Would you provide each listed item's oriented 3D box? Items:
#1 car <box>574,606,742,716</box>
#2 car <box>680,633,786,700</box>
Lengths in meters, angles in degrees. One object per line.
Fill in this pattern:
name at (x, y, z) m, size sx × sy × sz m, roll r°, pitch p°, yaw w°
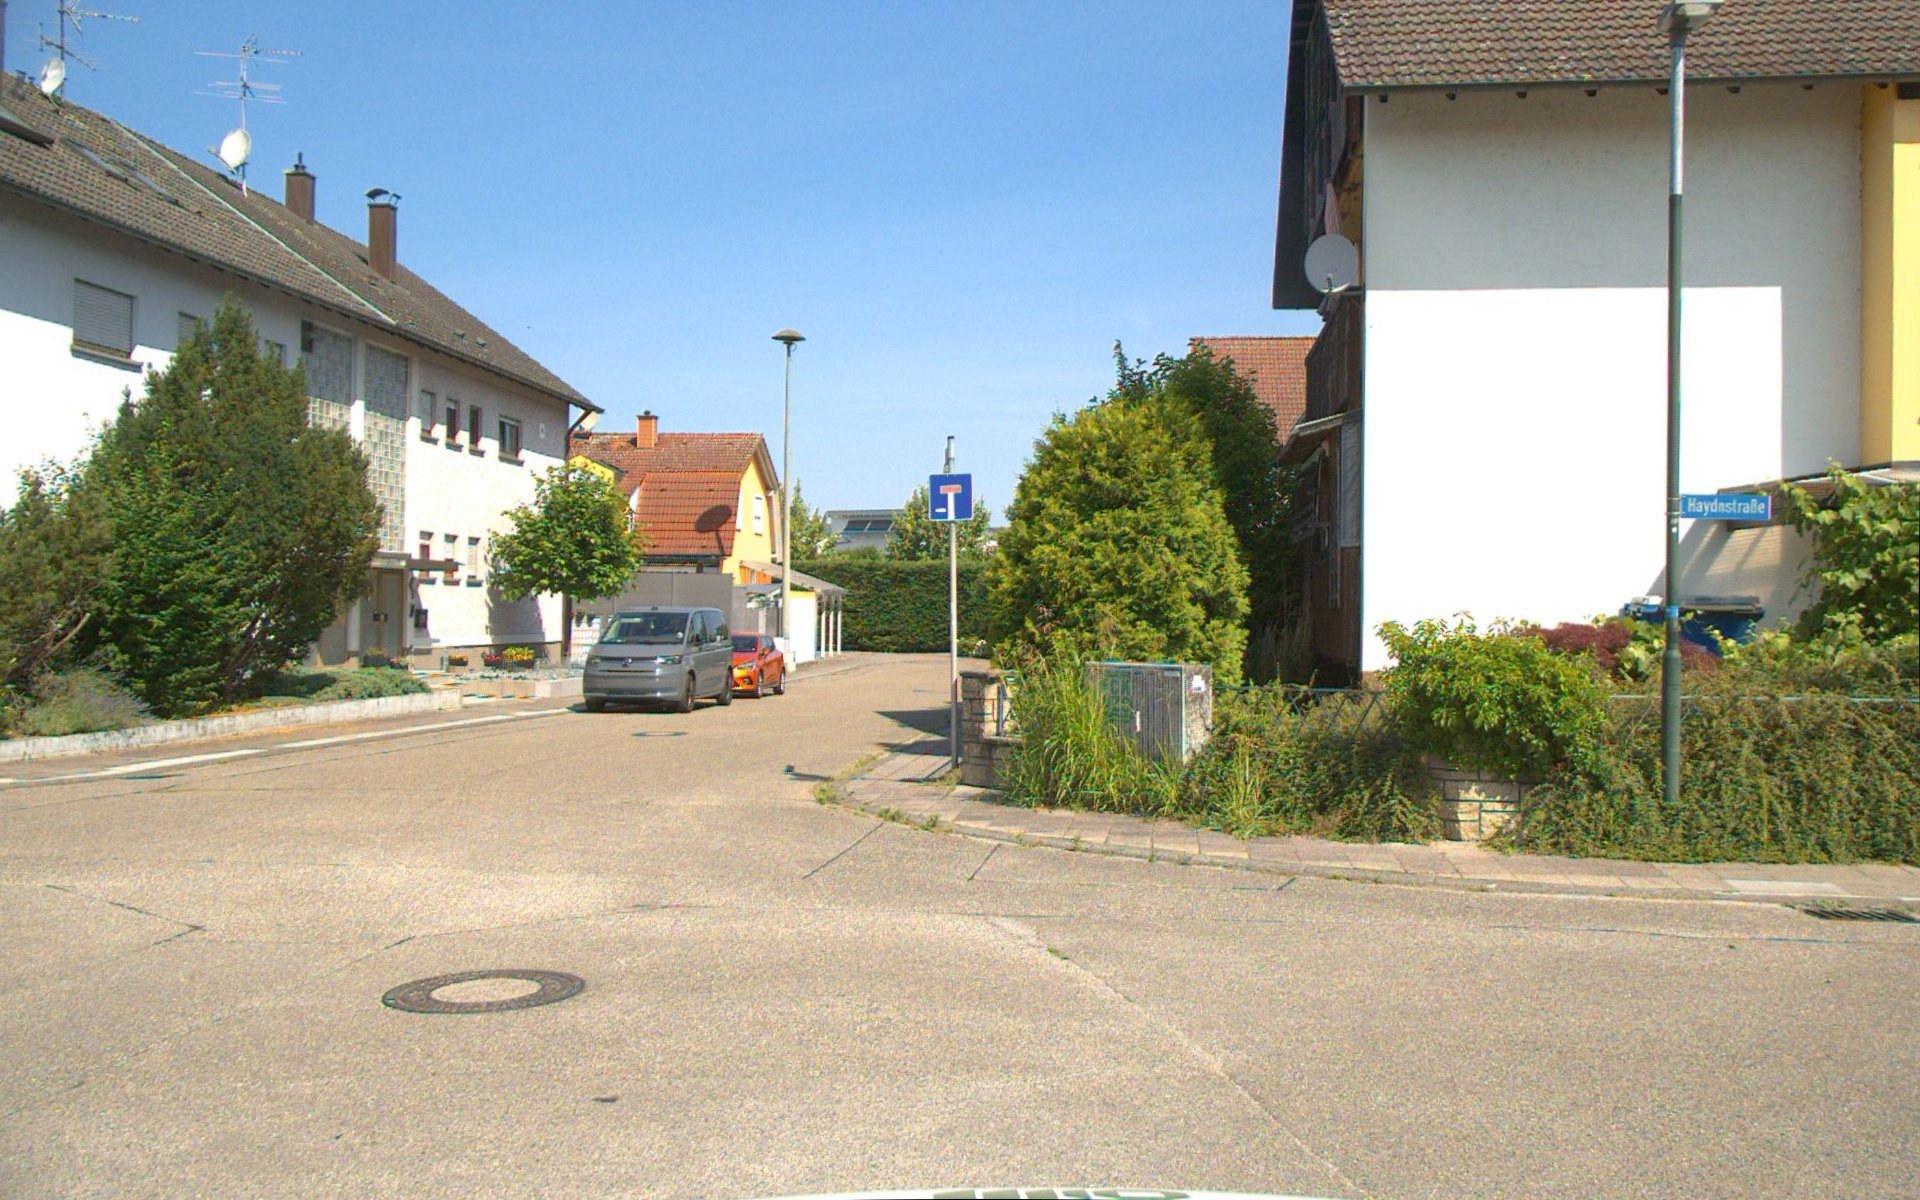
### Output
car at (-5.575, 1.081, 31.106) m, size 1.860 × 1.902 × 4.374 m, roll 0°, pitch 0°, yaw 7°
car at (-5.107, 1.471, 37.581) m, size 1.617 × 1.389 × 3.780 m, roll 0°, pitch -1°, yaw 4°
